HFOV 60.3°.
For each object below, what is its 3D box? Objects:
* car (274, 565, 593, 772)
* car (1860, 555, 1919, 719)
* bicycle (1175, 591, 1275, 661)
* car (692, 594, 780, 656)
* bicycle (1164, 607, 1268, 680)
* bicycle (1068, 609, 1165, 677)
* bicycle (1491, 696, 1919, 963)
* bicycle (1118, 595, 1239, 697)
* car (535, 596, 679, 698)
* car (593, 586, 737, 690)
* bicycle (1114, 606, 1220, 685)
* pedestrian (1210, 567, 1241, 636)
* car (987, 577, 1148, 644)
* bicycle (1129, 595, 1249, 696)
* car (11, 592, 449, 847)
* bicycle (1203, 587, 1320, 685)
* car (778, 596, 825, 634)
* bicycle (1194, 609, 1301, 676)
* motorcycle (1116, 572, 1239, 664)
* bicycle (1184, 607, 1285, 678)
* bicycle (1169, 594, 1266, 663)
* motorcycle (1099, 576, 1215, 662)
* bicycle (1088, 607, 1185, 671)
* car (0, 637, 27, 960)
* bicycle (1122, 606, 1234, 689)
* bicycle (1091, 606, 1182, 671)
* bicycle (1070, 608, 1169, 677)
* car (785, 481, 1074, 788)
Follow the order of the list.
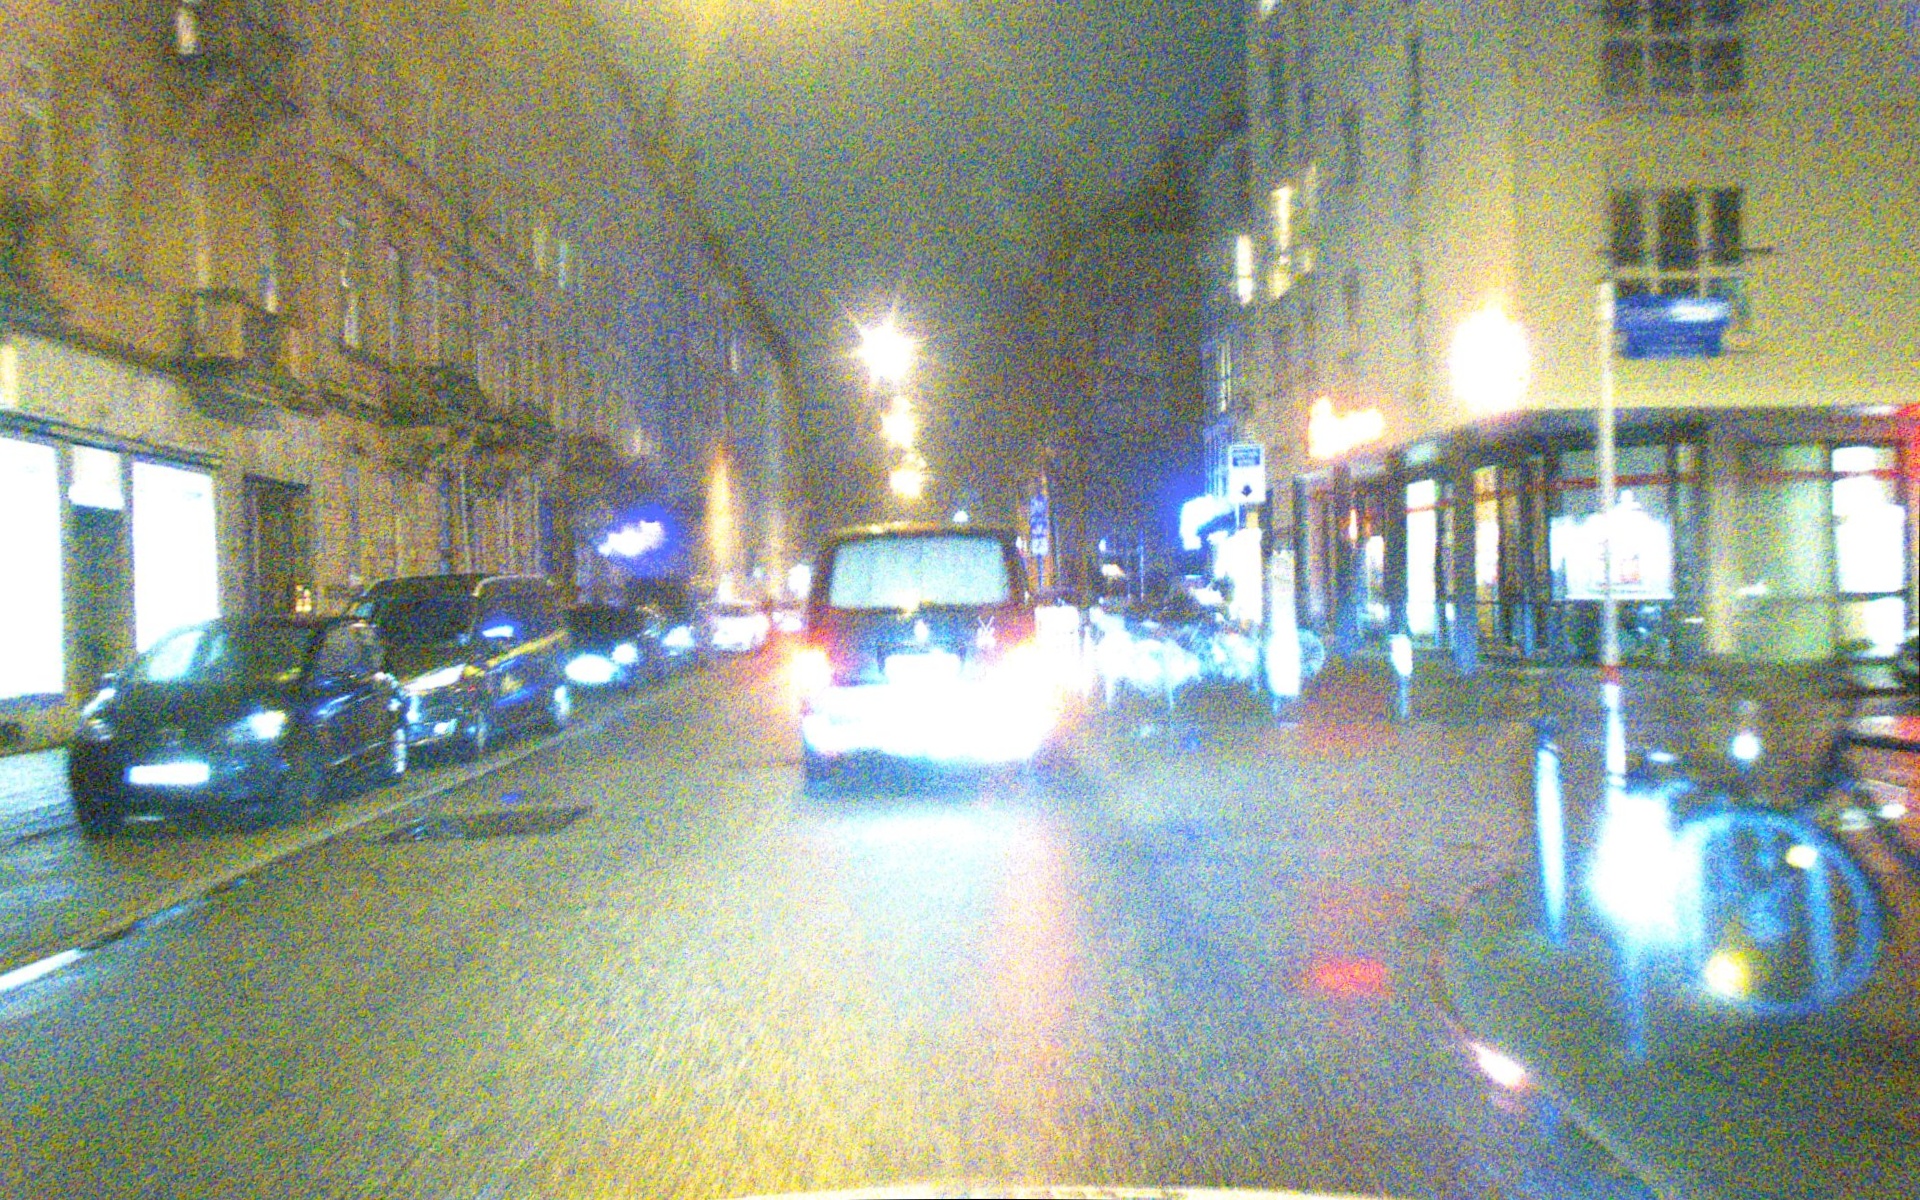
[{"bbox_3d":[-5.351,0.606,17.548,1.864,1.861,4.828,-1,0,-1],"label":"car"},{"bbox_3d":[12.569,0.406,18.460,4.060,1.801,1.842,0,0,-1],"label":"car"},{"bbox_3d":[4.410,0.437,27.513,1.500,0.968,0.366,-7,-1,-7],"label":"bicycle"},{"bbox_3d":[-6.001,0.643,44.713,1.731,1.509,4.771,2,0,-1],"label":"car"},{"bbox_3d":[4.062,0.686,26.251,1.498,0.968,0.366,-7,-1,2],"label":"bicycle"},{"bbox_3d":[2.645,0.726,28.046,1.500,0.968,0.366,-7,-1,-6],"label":"bicycle"},{"bbox_3d":[3.255,0.847,6.346,2.223,0.909,0.617,-2,0,28],"label":"bicycle"},{"bbox_3d":[3.016,0.629,22.884,1.498,1.222,0.366,-7,-1,1],"label":"bicycle"},{"bbox_3d":[-5.614,0.704,26.674,1.537,1.485,3.719,-1,0,-1],"label":"car"},{"bbox_3d":[-5.710,0.672,32.691,1.955,1.861,5.206,-1,0,-1],"label":"car"},{"bbox_3d":[3.218,0.705,25.779,1.498,1.041,0.366,-7,-1,2],"label":"bicycle"},{"bbox_3d":[7.254,0.036,45.205,0.688,1.819,0.624,-3,1,2],"label":"pedestrian"},{"bbox_3d":[3.097,0.288,48.119,4.423,1.557,1.779,-5,0,-2],"label":"car"},{"bbox_3d":[3.226,0.635,23.341,1.499,1.222,0.366,-7,-1,-3],"label":"bicycle"},{"bbox_3d":[-5.306,0.765,12.583,1.692,1.602,3.719,-1,0,-1],"label":"car"},{"bbox_3d":[4.346,0.516,23.857,1.499,1.222,0.366,-7,-1,-3],"label":"bicycle"},{"bbox_3d":[-6.459,0.580,67.687,1.638,1.517,3.720,0,0,-2],"label":"car"},{"bbox_3d":[4.405,0.649,25.361,1.498,0.848,0.325,-7,-1,2],"label":"bicycle"},{"bbox_3d":[4.225,0.351,32.234,2.129,1.574,0.866,-5,0,-2],"label":"motorcycle"},{"bbox_3d":[4.491,0.697,27.081,1.500,0.968,0.366,-7,-1,-6],"label":"bicycle"},{"bbox_3d":[4.372,0.480,28.092,1.500,0.968,0.366,-7,-1,-6],"label":"bicycle"},{"bbox_3d":[4.216,0.403,35.446,2.243,1.615,0.866,-5,0,-2],"label":"motorcycle"},{"bbox_3d":[3.218,0.711,30.183,1.635,0.968,0.366,-7,-1,6],"label":"bicycle"},{"bbox_3d":[-5.049,0.909,5.188,1.692,1.416,4.554,-1,0,-1],"label":"car"},{"bbox_3d":[3.218,0.700,24.472,1.499,1.041,0.366,-7,-1,-3],"label":"bicycle"},{"bbox_3d":[3.144,0.683,29.415,1.497,0.968,0.366,-7,-1,6],"label":"bicycle"},{"bbox_3d":[2.659,0.704,27.626,1.500,0.968,0.366,-7,-1,-6],"label":"bicycle"},{"bbox_3d":[-0.243,0.218,13.781,1.955,2.084,4.693,-1,0,-1],"label":"car"}]
